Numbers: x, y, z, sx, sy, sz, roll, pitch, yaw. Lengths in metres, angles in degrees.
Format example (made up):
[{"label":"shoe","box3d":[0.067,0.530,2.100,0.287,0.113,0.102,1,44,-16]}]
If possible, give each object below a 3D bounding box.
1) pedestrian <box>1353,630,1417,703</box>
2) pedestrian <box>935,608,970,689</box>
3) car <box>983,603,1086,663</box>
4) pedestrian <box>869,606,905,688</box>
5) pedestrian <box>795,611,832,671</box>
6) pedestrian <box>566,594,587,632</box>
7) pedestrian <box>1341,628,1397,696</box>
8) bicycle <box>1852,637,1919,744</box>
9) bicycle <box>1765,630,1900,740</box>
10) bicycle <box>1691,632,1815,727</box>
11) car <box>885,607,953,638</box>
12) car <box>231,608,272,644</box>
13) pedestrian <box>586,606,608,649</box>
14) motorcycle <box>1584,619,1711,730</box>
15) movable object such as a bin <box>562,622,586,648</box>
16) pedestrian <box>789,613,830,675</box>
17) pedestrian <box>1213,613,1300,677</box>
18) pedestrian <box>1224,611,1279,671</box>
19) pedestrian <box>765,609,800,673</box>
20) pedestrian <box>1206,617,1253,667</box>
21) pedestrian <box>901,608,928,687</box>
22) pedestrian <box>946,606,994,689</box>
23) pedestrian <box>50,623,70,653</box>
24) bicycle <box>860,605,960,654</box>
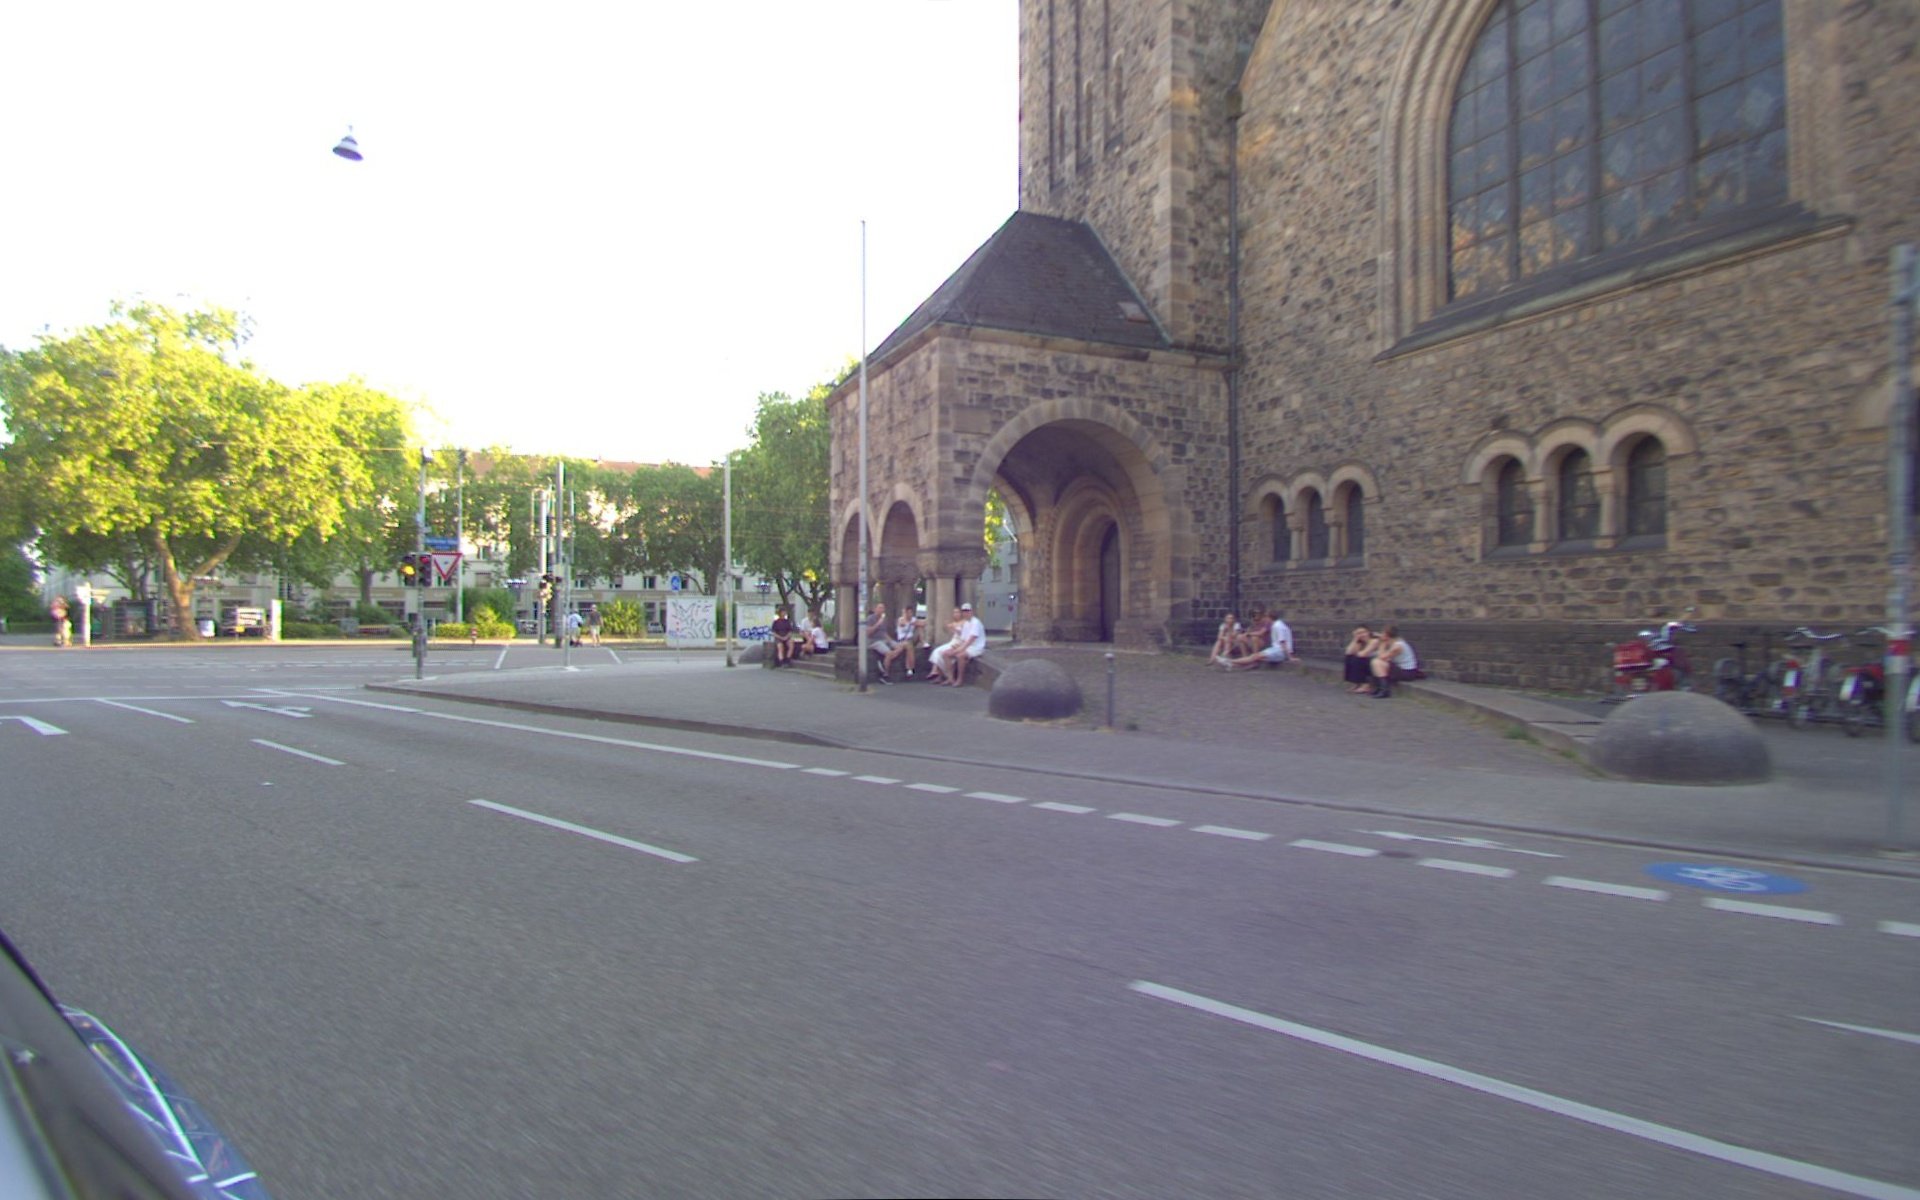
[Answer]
[{"label":"pedestrian","box3d":[6.001,0.931,14.312,0.688,0.999,0.560,0,-1,8]},{"label":"pedestrian","box3d":[-0.138,0.864,18.158,0.539,1.417,0.460,0,-1,-14]},{"label":"car","box3d":[2.357,1.049,33.217,1.557,1.822,4.420,1,-1,-23]},{"label":"pedestrian","box3d":[-1.321,0.838,18.274,0.541,1.464,0.559,0,-1,-14]},{"label":"pedestrian","box3d":[-3.463,0.960,23.931,0.790,1.385,0.701,0,-1,-15]},{"label":"pedestrian","box3d":[-16.640,0.574,43.932,0.708,1.646,1.010,1,-2,-29]},{"label":"pedestrian","box3d":[6.021,0.904,14.919,0.642,0.975,0.560,0,-1,8]},{"label":"bicycle","box3d":[9.820,0.893,10.410,1.974,0.997,0.467,1,-2,-34]},{"label":"bicycle","box3d":[9.515,0.880,11.011,1.975,0.996,0.587,-3,0,-34]},{"label":"bicycle","box3d":[9.170,0.876,11.677,1.975,0.997,0.587,1,-2,-36]},{"label":"car","box3d":[-3.552,1.918,87.463,5.482,2.638,2.006,0,-2,-25]},{"label":"car","box3d":[-41.120,1.519,58.801,1.837,2.029,3.820,1,-2,-34]},{"label":"pedestrian","box3d":[-15.892,1.189,44.290,0.699,1.861,1.163,1,-2,-29]},{"label":"motorcycle","box3d":[8.312,0.839,12.181,0.822,1.134,2.387,-2,0,45]},{"label":"movable object such as a bin","box3d":[-17.152,1.531,44.984,0.847,1.128,1.141,1,-2,-29]},{"label":"pedestrian","box3d":[-3.416,0.992,23.002,0.793,1.385,0.699,0,-1,2]},{"label":"pedestrian","box3d":[5.195,0.775,17.774,1.315,1.102,0.685,0,-1,2]},{"label":"pedestrian","box3d":[5.306,0.741,18.468,0.819,1.084,0.647,0,-1,2]},{"label":"pedestrian","box3d":[-4.159,0.939,23.644,0.619,1.465,0.918,1,-2,-23]},{"label":"pedestrian","box3d":[5.088,0.787,19.143,0.730,0.923,0.647,0,-1,1]},{"label":"pedestrian","box3d":[-0.831,0.859,18.555,0.395,1.417,0.549,0,-1,-14]},{"label":"pedestrian","box3d":[0.164,0.812,17.593,0.692,1.417,0.634,0,-1,-14]},{"label":"pedestrian","box3d":[-49.269,2.070,55.405,0.734,1.641,0.662,0,-2,-32]},{"label":"bicycle","box3d":[-1.118,0.664,22.846,2.247,1.065,0.597,1,-2,-31]}]
